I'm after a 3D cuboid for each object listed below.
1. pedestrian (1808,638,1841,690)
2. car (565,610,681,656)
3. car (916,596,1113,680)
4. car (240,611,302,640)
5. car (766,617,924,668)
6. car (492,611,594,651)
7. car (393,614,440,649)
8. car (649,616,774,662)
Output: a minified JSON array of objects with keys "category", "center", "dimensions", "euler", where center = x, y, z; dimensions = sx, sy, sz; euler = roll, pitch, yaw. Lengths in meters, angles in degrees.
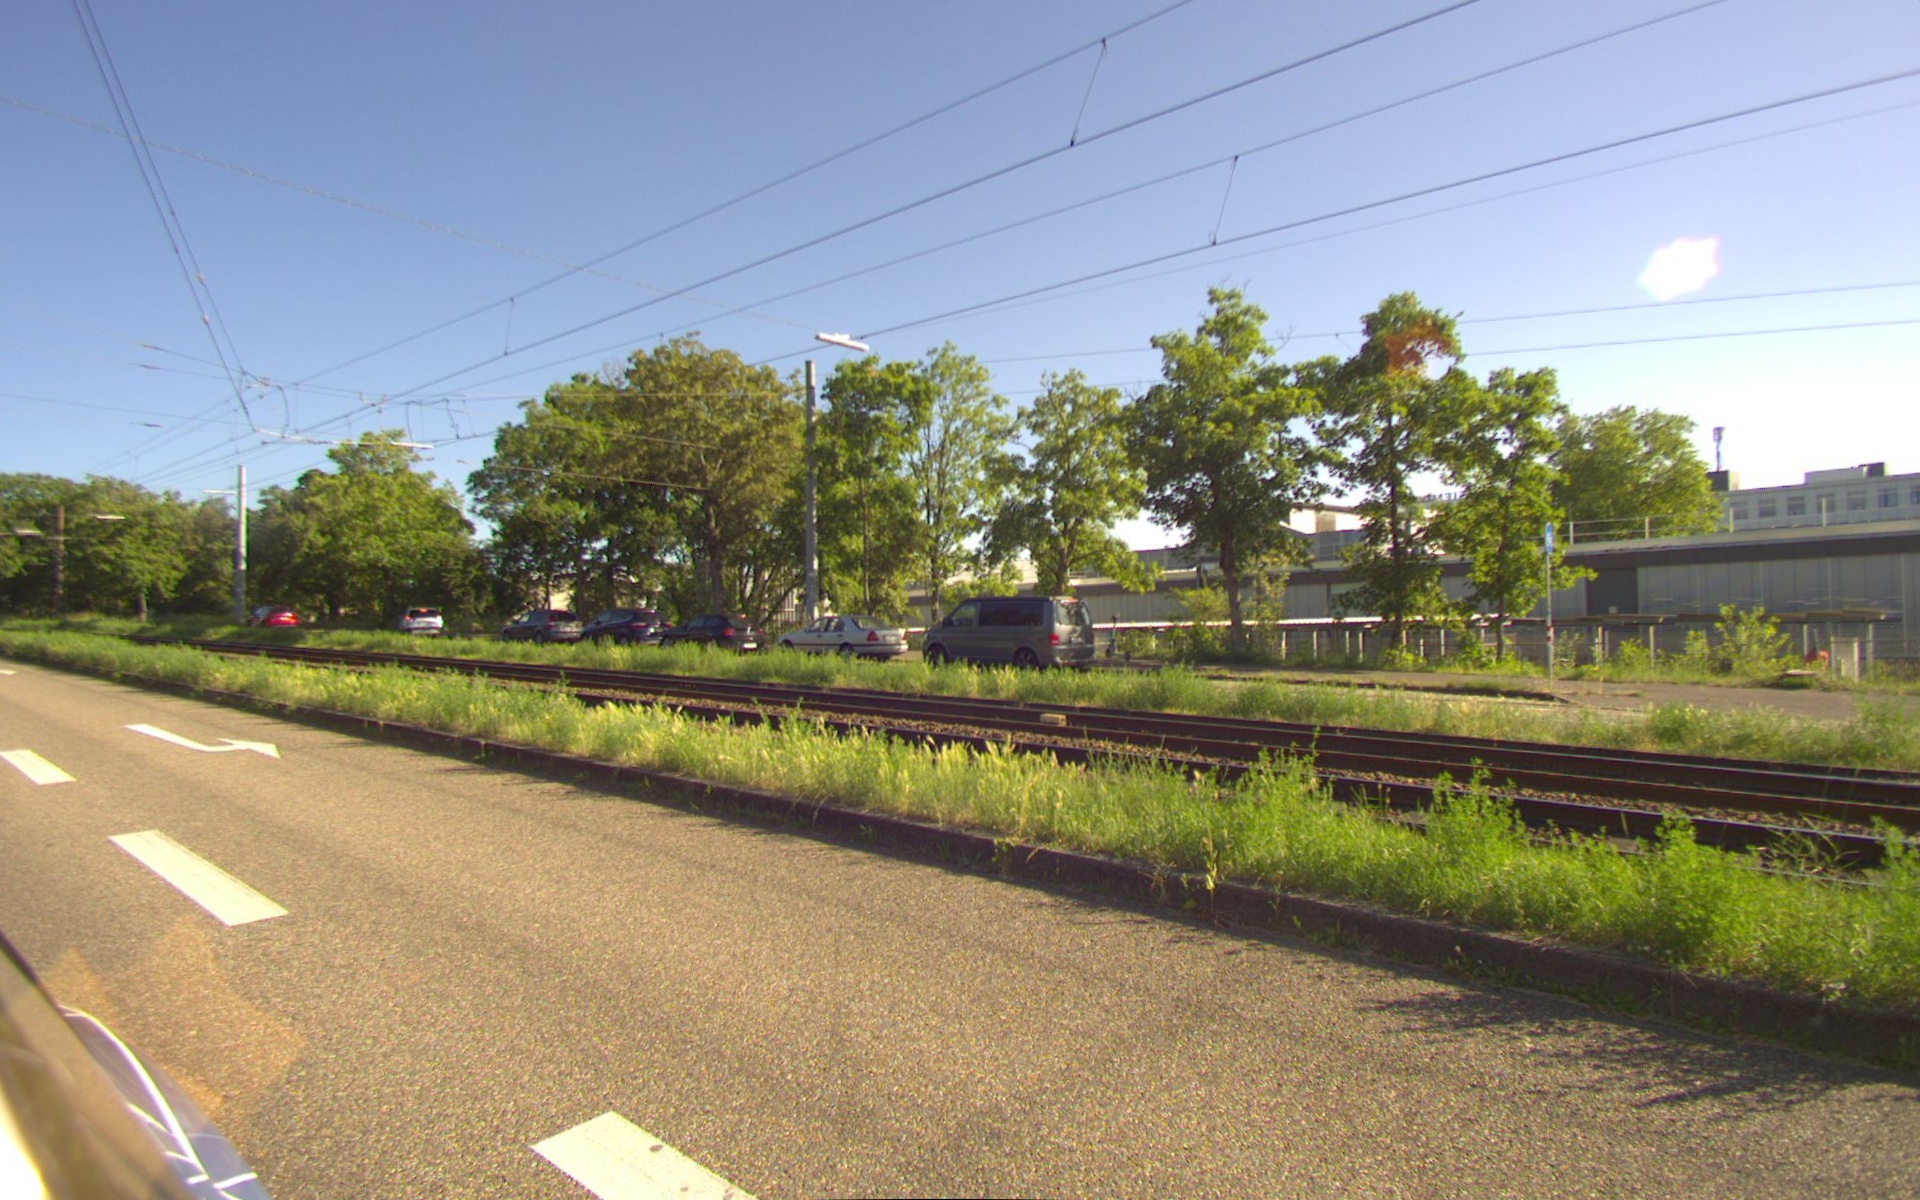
[{"category":"pedestrian","center":[22.303,1.649,26.113],"dimensions":[0.435,1.310,0.441],"euler":[-1,-2,-1]},{"category":"car","center":[-12.662,1.208,37.887],"dimensions":[4.614,1.599,2.102],"euler":[-1,-1,41]},{"category":"car","center":[1.310,0.920,25.804],"dimensions":[4.684,1.949,2.178],"euler":[-1,-1,42]},{"category":"car","center":[-43.686,1.579,64.098],"dimensions":[4.797,1.746,2.290],"euler":[-1,-1,43]},{"category":"car","center":[-3.491,1.222,30.325],"dimensions":[4.612,1.391,2.103],"euler":[-1,-1,40]},{"category":"car","center":[-17.492,1.287,42.364],"dimensions":[4.557,1.575,2.103],"euler":[-1,-1,41]},{"category":"car","center":[-25.998,1.465,48.513],"dimensions":[1.829,1.569,4.170],"euler":[0,-1,-26]},{"category":"car","center":[-8.469,1.284,34.334],"dimensions":[4.486,1.437,1.935],"euler":[-1,-1,42]}]
